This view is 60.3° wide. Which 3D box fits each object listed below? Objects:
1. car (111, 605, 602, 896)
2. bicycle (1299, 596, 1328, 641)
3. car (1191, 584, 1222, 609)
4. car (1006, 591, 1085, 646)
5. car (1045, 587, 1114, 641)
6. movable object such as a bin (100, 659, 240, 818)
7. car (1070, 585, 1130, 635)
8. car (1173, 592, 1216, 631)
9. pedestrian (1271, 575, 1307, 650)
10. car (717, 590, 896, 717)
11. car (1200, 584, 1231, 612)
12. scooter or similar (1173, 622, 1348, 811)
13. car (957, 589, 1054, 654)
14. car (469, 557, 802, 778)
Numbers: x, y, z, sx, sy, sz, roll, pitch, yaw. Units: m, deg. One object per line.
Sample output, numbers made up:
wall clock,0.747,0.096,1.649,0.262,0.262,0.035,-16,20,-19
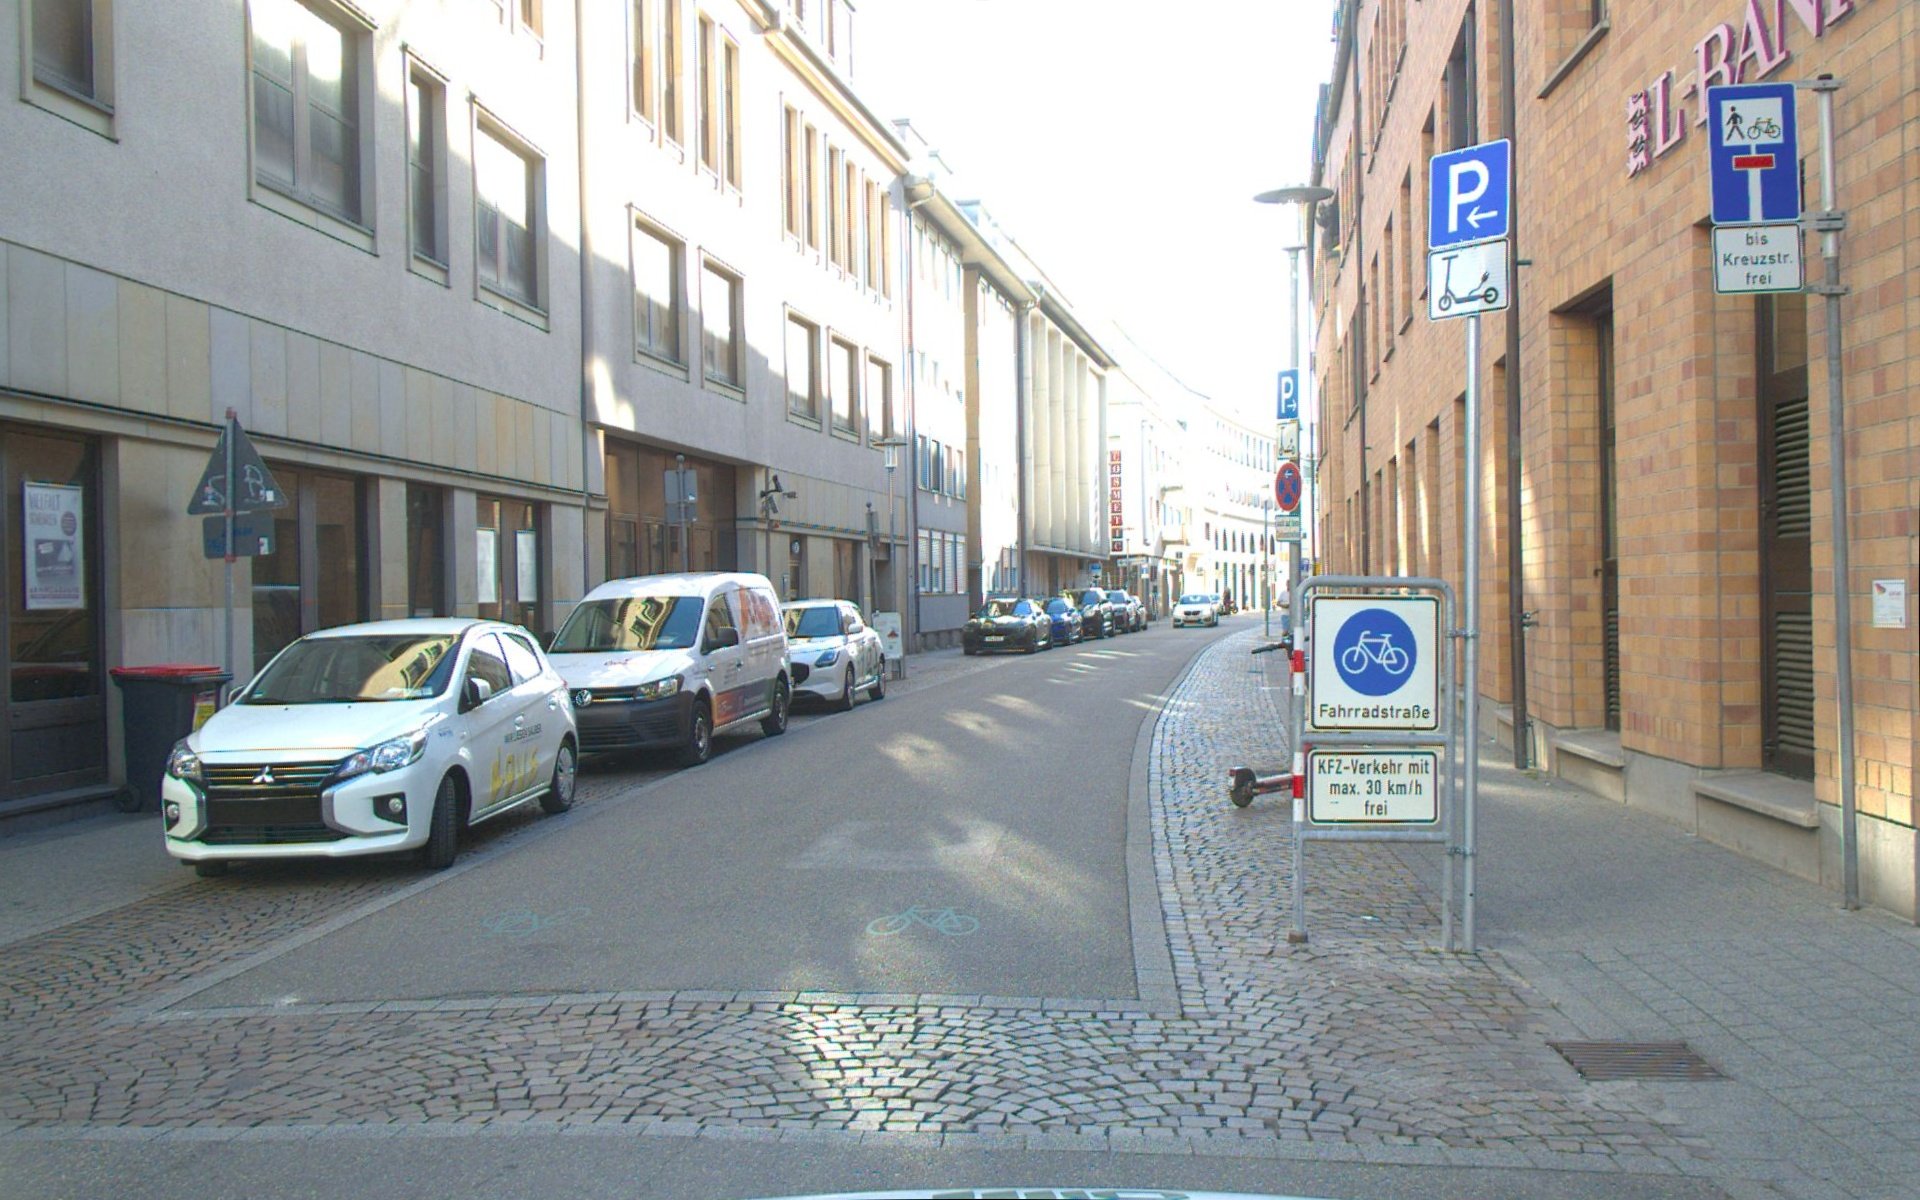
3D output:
car,-3.791,0.852,11.143,1.701,1.518,3.801,-3,0,3
bicycle,9.481,0.481,44.401,0.538,1.122,1.984,-4,0,7
car,16.081,-0.252,107.714,1.699,1.634,3.535,0,0,14
car,2.651,0.529,50.137,1.849,1.556,4.344,-2,0,10
car,4.067,0.426,55.823,1.849,1.705,4.557,-2,0,10
movable object such as a bin,-5.864,1.012,12.307,0.721,1.120,0.591,1,-1,4
car,5.400,0.349,63.314,1.849,1.772,4.394,-2,0,10
car,10.058,0.480,70.852,1.678,1.544,4.164,-2,0,10
pedestrian,7.846,0.297,39.459,0.744,1.746,0.822,-3,0,10
car,-2.075,0.687,23.351,1.634,1.548,3.779,-3,0,7
car,14.794,-0.158,95.563,1.604,1.544,4.164,-2,0,11
scooter or similar,2.210,0.811,12.069,1.407,1.257,0.530,-1,1,-43
car,1.268,0.534,43.717,1.849,1.556,4.733,-2,0,10
car,-3.121,0.587,17.044,1.859,1.890,4.737,-3,0,8
